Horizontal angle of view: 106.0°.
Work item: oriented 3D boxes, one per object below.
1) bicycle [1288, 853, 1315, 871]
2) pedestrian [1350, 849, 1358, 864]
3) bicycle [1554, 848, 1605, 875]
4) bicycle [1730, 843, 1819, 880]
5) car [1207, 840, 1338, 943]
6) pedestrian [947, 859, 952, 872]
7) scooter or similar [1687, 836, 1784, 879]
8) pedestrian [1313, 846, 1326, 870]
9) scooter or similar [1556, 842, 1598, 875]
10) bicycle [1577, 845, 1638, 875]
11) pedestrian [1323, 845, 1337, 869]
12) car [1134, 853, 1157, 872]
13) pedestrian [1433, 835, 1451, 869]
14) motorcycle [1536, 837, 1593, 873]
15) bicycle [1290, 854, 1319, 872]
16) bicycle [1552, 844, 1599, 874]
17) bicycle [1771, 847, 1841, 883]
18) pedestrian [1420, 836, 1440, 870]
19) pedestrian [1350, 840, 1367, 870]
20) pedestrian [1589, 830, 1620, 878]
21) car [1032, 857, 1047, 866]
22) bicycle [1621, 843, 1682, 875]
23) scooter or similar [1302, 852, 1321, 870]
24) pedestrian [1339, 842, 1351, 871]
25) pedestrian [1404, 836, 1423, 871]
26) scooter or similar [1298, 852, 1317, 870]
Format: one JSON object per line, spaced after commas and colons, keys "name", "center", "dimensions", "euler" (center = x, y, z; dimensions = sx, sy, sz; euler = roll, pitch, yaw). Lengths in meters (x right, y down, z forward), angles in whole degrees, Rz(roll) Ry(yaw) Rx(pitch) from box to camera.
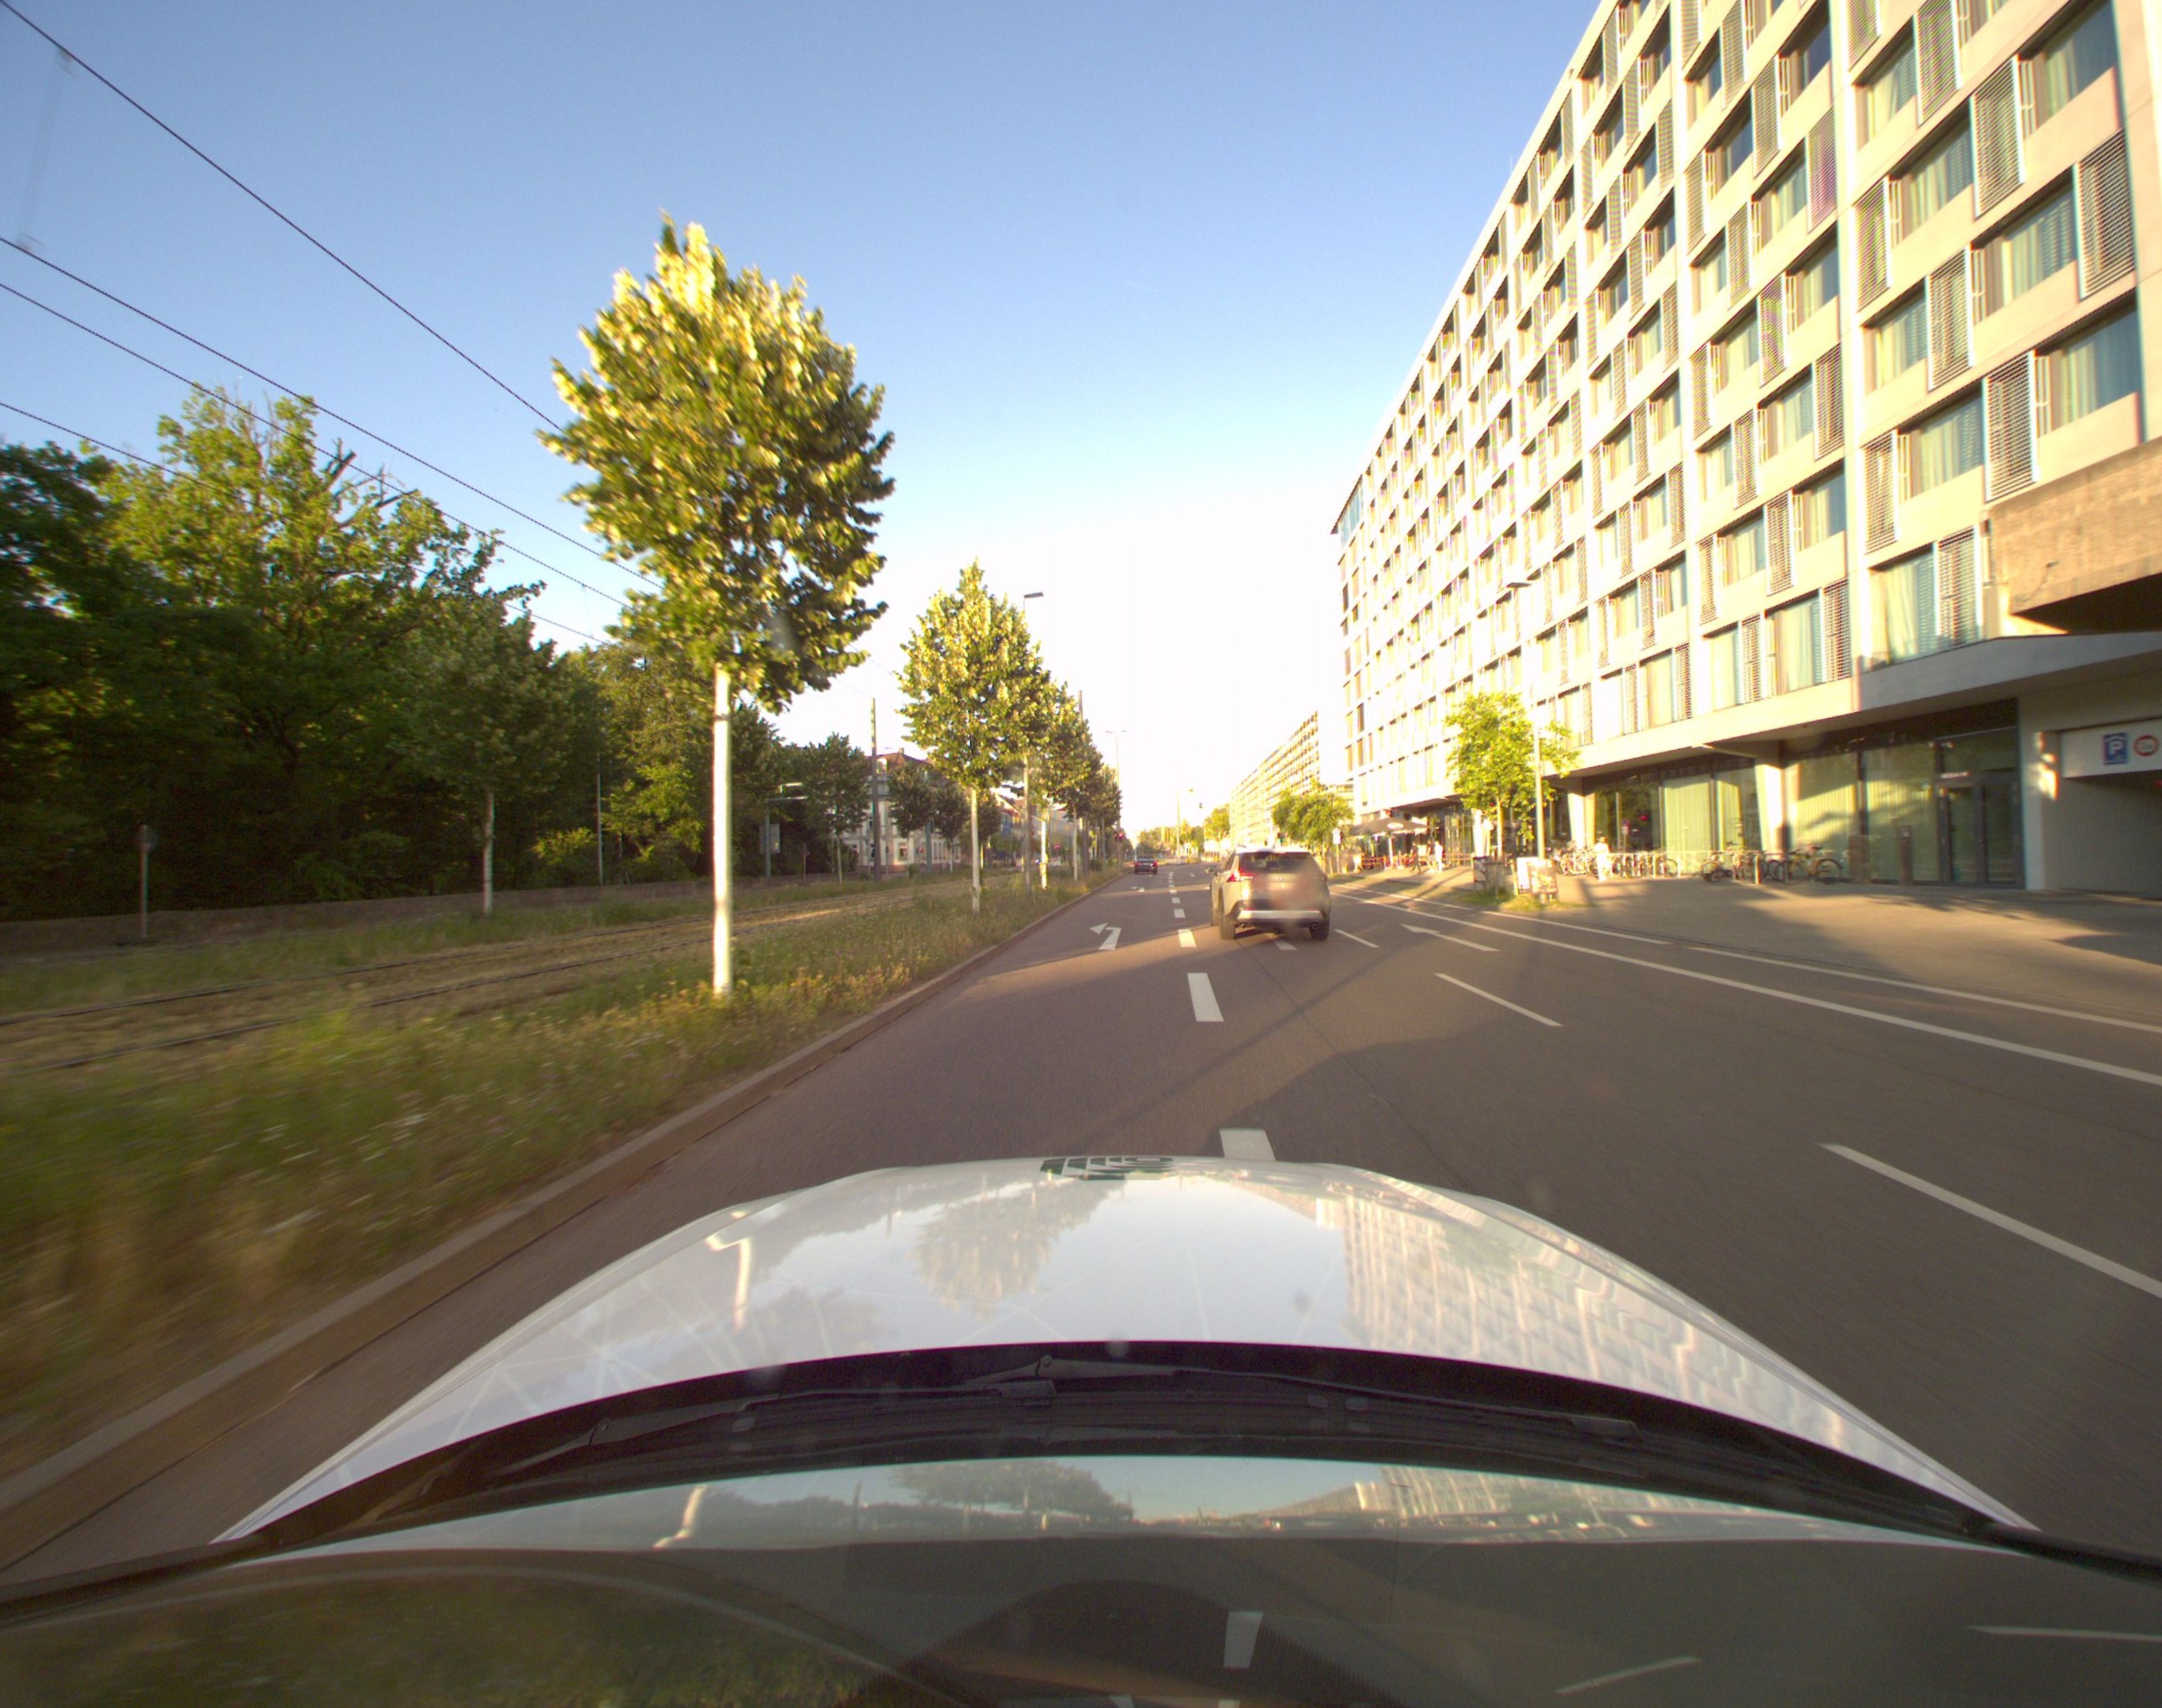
{"name": "bicycle", "center": [16.371, 0.604, 60.551], "dimensions": [1.787, 1.193, 0.568], "euler": [-4, 0, 0]}
{"name": "pedestrian", "center": [25.679, 0.208, 76.633], "dimensions": [0.607, 1.319, 0.624], "euler": [-5, -1, 23]}
{"name": "bicycle", "center": [20.398, 0.297, 33.313], "dimensions": [1.693, 0.986, 0.551], "euler": [-3, 0, 2]}
{"name": "bicycle", "center": [20.032, 0.219, 23.541], "dimensions": [2.010, 0.957, 0.620], "euler": [-3, 0, -1]}
{"name": "car", "center": [3.455, 0.602, 15.461], "dimensions": [1.825, 1.672, 4.288], "euler": [-1, 0, 5]}
{"name": "pedestrian", "center": [-18.568, 1.634, 114.768], "dimensions": [0.702, 1.715, 0.810], "euler": [0, 0, -11]}
{"name": "scooter or similar", "center": [20.190, 0.111, 25.138], "dimensions": [2.361, 1.183, 0.621], "euler": [-3, 0, 4]}
{"name": "pedestrian", "center": [17.556, 0.278, 59.912], "dimensions": [0.650, 1.702, 0.690], "euler": [-4, 0, 5]}
{"name": "scooter or similar", "center": [19.921, 0.164, 32.711], "dimensions": [1.263, 1.233, 0.609], "euler": [-4, 0, 1]}
{"name": "bicycle", "center": [20.180, 0.222, 31.222], "dimensions": [1.877, 1.010, 0.566], "euler": [-4, -1, 3]}
{"name": "pedestrian", "center": [18.279, 0.217, 59.814], "dimensions": [0.682, 1.735, 0.762], "euler": [-4, 0, 5]}
{"name": "car", "center": [4.873, 0.595, 61.183], "dimensions": [1.666, 1.352, 4.006], "euler": [0, 0, 5]}
{"name": "pedestrian", "center": [19.779, -0.098, 44.629], "dimensions": [0.614, 1.811, 0.780], "euler": [-5, -1, 14]}
{"name": "motorcycle", "center": [20.716, 0.041, 34.915], "dimensions": [2.111, 1.386, 0.670], "euler": [-3, 0, -9]}
{"name": "bicycle", "center": [16.127, 0.656, 58.839], "dimensions": [1.838, 1.182, 0.609], "euler": [-4, 0, 5]}
{"name": "bicycle", "center": [20.730, 0.193, 34.169], "dimensions": [1.605, 1.154, 0.610], "euler": [-4, 0, -7]}
{"name": "bicycle", "center": [19.532, 0.291, 21.955], "dimensions": [1.415, 0.891, 0.457], "euler": [-2, 0, 4]}
{"name": "pedestrian", "center": [19.036, -0.054, 44.423], "dimensions": [0.751, 1.824, 0.944], "euler": [-4, -1, 14]}
{"name": "pedestrian", "center": [17.764, 0.078, 52.175], "dimensions": [0.818, 1.888, 0.869], "euler": [-4, -2, 13]}
{"name": "pedestrian", "center": [18.305, 0.003, 28.495], "dimensions": [0.574, 1.619, 0.643], "euler": [-4, 0, 2]}
{"name": "car", "center": [-7.812, 1.330, 152.745], "dimensions": [1.983, 1.580, 4.132], "euler": [-3, 0, 6]}
{"name": "bicycle", "center": [19.977, 0.180, 28.534], "dimensions": [1.693, 0.986, 0.551], "euler": [-4, 0, 2]}
{"name": "scooter or similar", "center": [16.086, 0.491, 56.883], "dimensions": [1.118, 1.214, 0.534], "euler": [-4, -2, 20]}
{"name": "pedestrian", "center": [17.079, 0.169, 52.699], "dimensions": [0.571, 1.786, 0.833], "euler": [-4, -2, 22]}
{"name": "pedestrian", "center": [18.241, -0.008, 44.718], "dimensions": [0.738, 1.849, 0.944], "euler": [-4, -1, 14]}
{"name": "scooter or similar", "center": [16.060, 0.529, 57.670], "dimensions": [1.150, 1.191, 0.511], "euler": [-4, -2, 7]}
